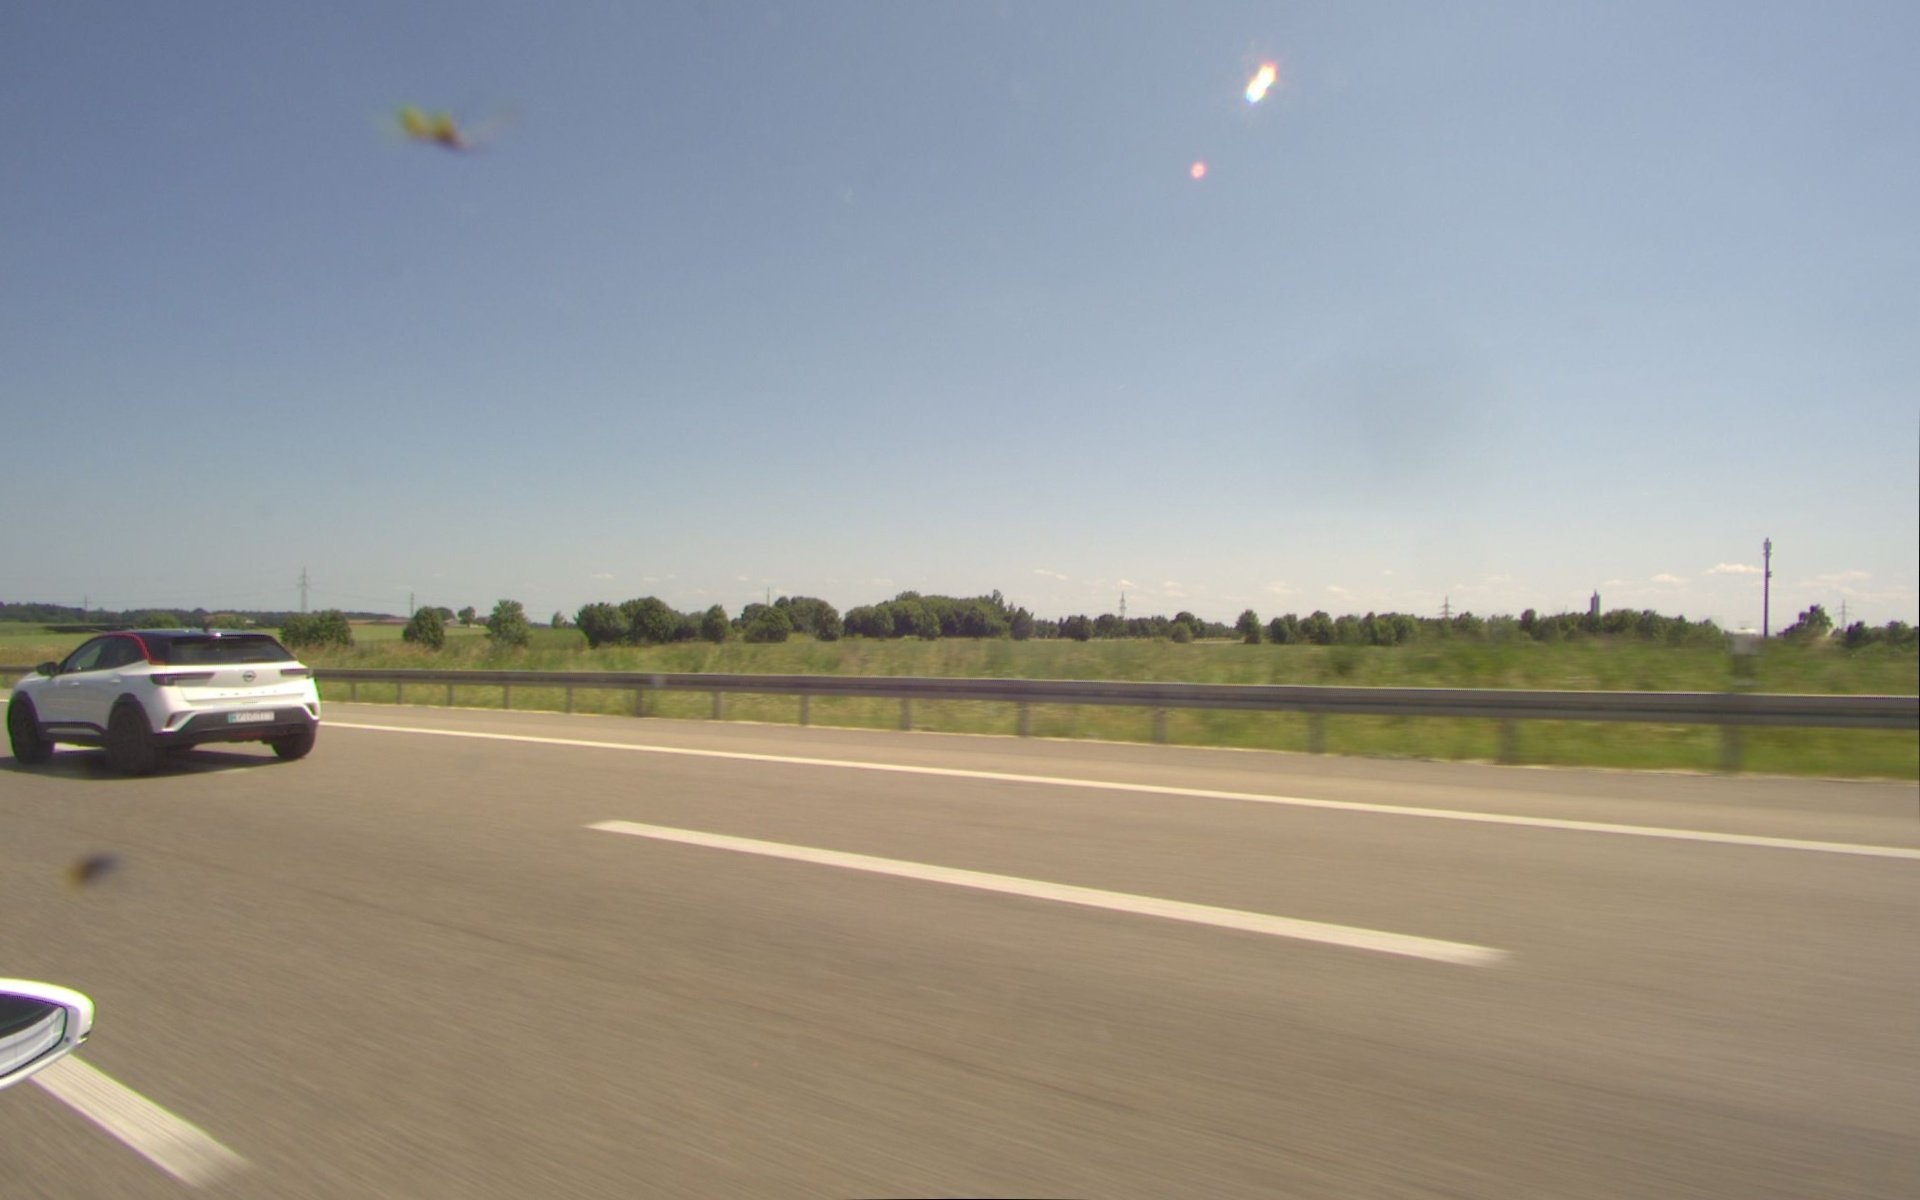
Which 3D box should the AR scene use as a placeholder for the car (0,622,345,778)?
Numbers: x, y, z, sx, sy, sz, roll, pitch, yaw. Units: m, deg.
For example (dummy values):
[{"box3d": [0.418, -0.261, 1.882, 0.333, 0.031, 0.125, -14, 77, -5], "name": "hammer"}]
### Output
[{"box3d": [-9.521, 1.054, 11.951, 4.196, 1.549, 1.889, 0, 0, 28], "name": "car"}]
